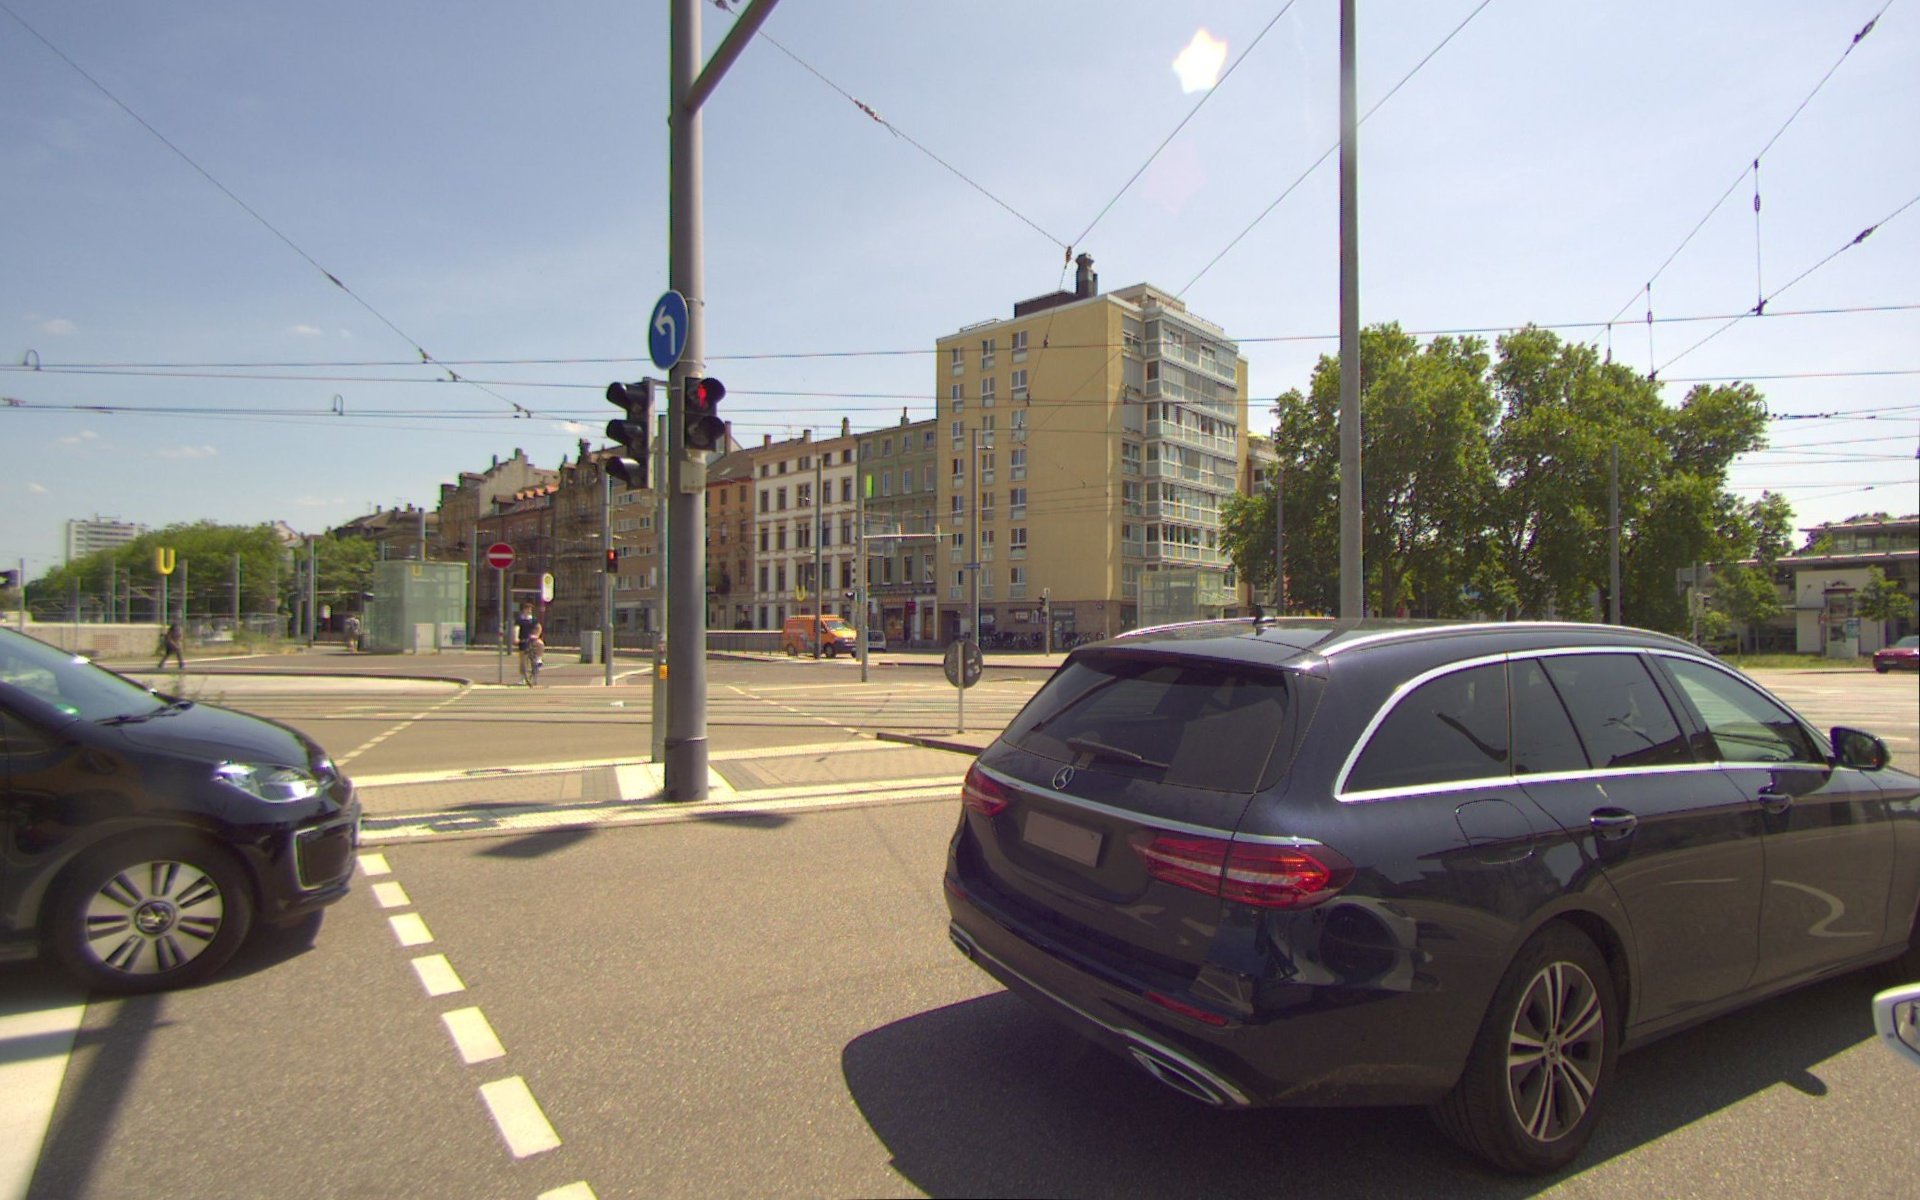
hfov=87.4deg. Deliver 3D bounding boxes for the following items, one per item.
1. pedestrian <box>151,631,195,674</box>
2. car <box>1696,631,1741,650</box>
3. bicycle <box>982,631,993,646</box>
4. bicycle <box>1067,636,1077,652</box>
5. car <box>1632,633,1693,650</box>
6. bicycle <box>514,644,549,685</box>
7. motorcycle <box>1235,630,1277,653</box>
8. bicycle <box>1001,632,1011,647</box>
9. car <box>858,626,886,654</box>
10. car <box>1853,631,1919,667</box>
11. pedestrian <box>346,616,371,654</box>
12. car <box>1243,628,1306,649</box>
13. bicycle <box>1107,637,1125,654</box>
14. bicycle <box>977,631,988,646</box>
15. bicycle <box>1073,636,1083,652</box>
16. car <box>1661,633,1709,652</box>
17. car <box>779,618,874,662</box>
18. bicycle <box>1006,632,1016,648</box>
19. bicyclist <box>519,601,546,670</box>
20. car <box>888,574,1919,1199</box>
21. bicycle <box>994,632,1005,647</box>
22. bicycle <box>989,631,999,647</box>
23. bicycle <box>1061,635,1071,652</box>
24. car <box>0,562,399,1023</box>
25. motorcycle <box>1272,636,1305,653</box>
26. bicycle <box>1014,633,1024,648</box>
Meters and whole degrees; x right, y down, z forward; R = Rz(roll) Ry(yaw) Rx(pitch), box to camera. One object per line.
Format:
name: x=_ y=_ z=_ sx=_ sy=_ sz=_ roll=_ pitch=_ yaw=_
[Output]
pedestrian: x=-25.186 y=1.684 z=32.152 sx=0.978 sy=1.352 sz=0.527 roll=0 pitch=-1 yaw=1
car: x=62.259 y=3.331 z=82.439 sx=4.284 sy=1.530 sz=1.755 roll=1 pitch=-2 yaw=-36
bicycle: x=1.959 y=2.719 z=70.840 sx=0.424 sy=1.040 sz=1.445 roll=0 pitch=-1 yaw=15
bicycle: x=7.344 y=2.865 z=65.755 sx=0.424 sy=1.040 sz=1.445 roll=0 pitch=-1 yaw=15
car: x=63.791 y=3.777 z=91.273 sx=4.245 sy=1.530 sz=1.772 roll=-1 pitch=-2 yaw=25
bicycle: x=-9.878 y=1.459 z=23.124 sx=0.620 sy=0.866 sz=1.887 roll=1 pitch=-2 yaw=-27
motorcycle: x=16.672 y=2.317 z=56.748 sx=0.949 sy=1.238 sz=2.803 roll=1 pitch=-2 yaw=-15
bicycle: x=3.208 y=2.754 z=69.822 sx=0.424 sy=1.040 sz=1.445 roll=0 pitch=-1 yaw=15
car: x=-5.876 y=2.653 z=67.274 sx=1.803 sy=1.773 sz=3.998 roll=0 pitch=-2 yaw=-5
car: x=40.554 y=2.047 z=42.494 sx=4.769 sy=1.484 sz=1.993 roll=1 pitch=-2 yaw=-18
pedestrian: x=-29.645 y=1.706 z=49.526 sx=1.114 sy=1.837 sz=0.677 roll=-1 pitch=-2 yaw=37
car: x=22.988 y=2.805 z=73.449 sx=3.934 sy=1.439 sz=1.994 roll=-1 pitch=-2 yaw=35
bicycle: x=10.136 y=2.960 z=65.273 sx=0.427 sy=1.040 sz=1.436 roll=-1 pitch=-2 yaw=43
bicycle: x=1.611 y=2.709 z=71.173 sx=0.424 sy=1.040 sz=1.445 roll=0 pitch=-1 yaw=15
bicycle: x=7.718 y=2.876 z=65.497 sx=0.424 sy=1.040 sz=1.445 roll=0 pitch=-1 yaw=15
car: x=61.303 y=3.585 z=84.941 sx=4.276 sy=1.530 sz=1.759 roll=1 pitch=-2 yaw=-30
car: x=-6.655 y=1.948 z=49.682 sx=4.800 sy=2.084 sz=1.990 roll=-1 pitch=-2 yaw=41
bicycle: x=3.531 y=2.762 z=69.430 sx=0.424 sy=1.040 sz=1.445 roll=0 pitch=-1 yaw=15
bicyclist: x=-9.874 y=0.803 z=23.177 sx=0.433 sy=1.549 sz=1.245 roll=2 pitch=0 yaw=-27
car: x=2.247 y=0.823 z=4.006 sx=4.745 sy=1.662 sz=1.790 roll=1 pitch=0 yaw=-28
bicycle: x=2.760 y=2.741 z=70.110 sx=0.424 sy=1.040 sz=1.445 roll=0 pitch=-1 yaw=15
bicycle: x=2.394 y=2.730 z=70.411 sx=0.424 sy=1.040 sz=1.445 roll=0 pitch=-1 yaw=15
bicycle: x=6.964 y=2.854 z=66.059 sx=0.424 sy=1.040 sz=1.445 roll=0 pitch=-1 yaw=15
car: x=-4.348 y=0.674 z=3.921 sx=3.691 sy=1.597 sz=1.737 roll=1 pitch=-2 yaw=-28
motorcycle: x=20.001 y=2.696 z=61.198 sx=1.886 sy=0.974 sz=0.525 roll=-1 pitch=-2 yaw=30
bicycle: x=4.053 y=2.778 z=69.181 sx=0.424 sy=1.040 sz=1.445 roll=0 pitch=-1 yaw=15
